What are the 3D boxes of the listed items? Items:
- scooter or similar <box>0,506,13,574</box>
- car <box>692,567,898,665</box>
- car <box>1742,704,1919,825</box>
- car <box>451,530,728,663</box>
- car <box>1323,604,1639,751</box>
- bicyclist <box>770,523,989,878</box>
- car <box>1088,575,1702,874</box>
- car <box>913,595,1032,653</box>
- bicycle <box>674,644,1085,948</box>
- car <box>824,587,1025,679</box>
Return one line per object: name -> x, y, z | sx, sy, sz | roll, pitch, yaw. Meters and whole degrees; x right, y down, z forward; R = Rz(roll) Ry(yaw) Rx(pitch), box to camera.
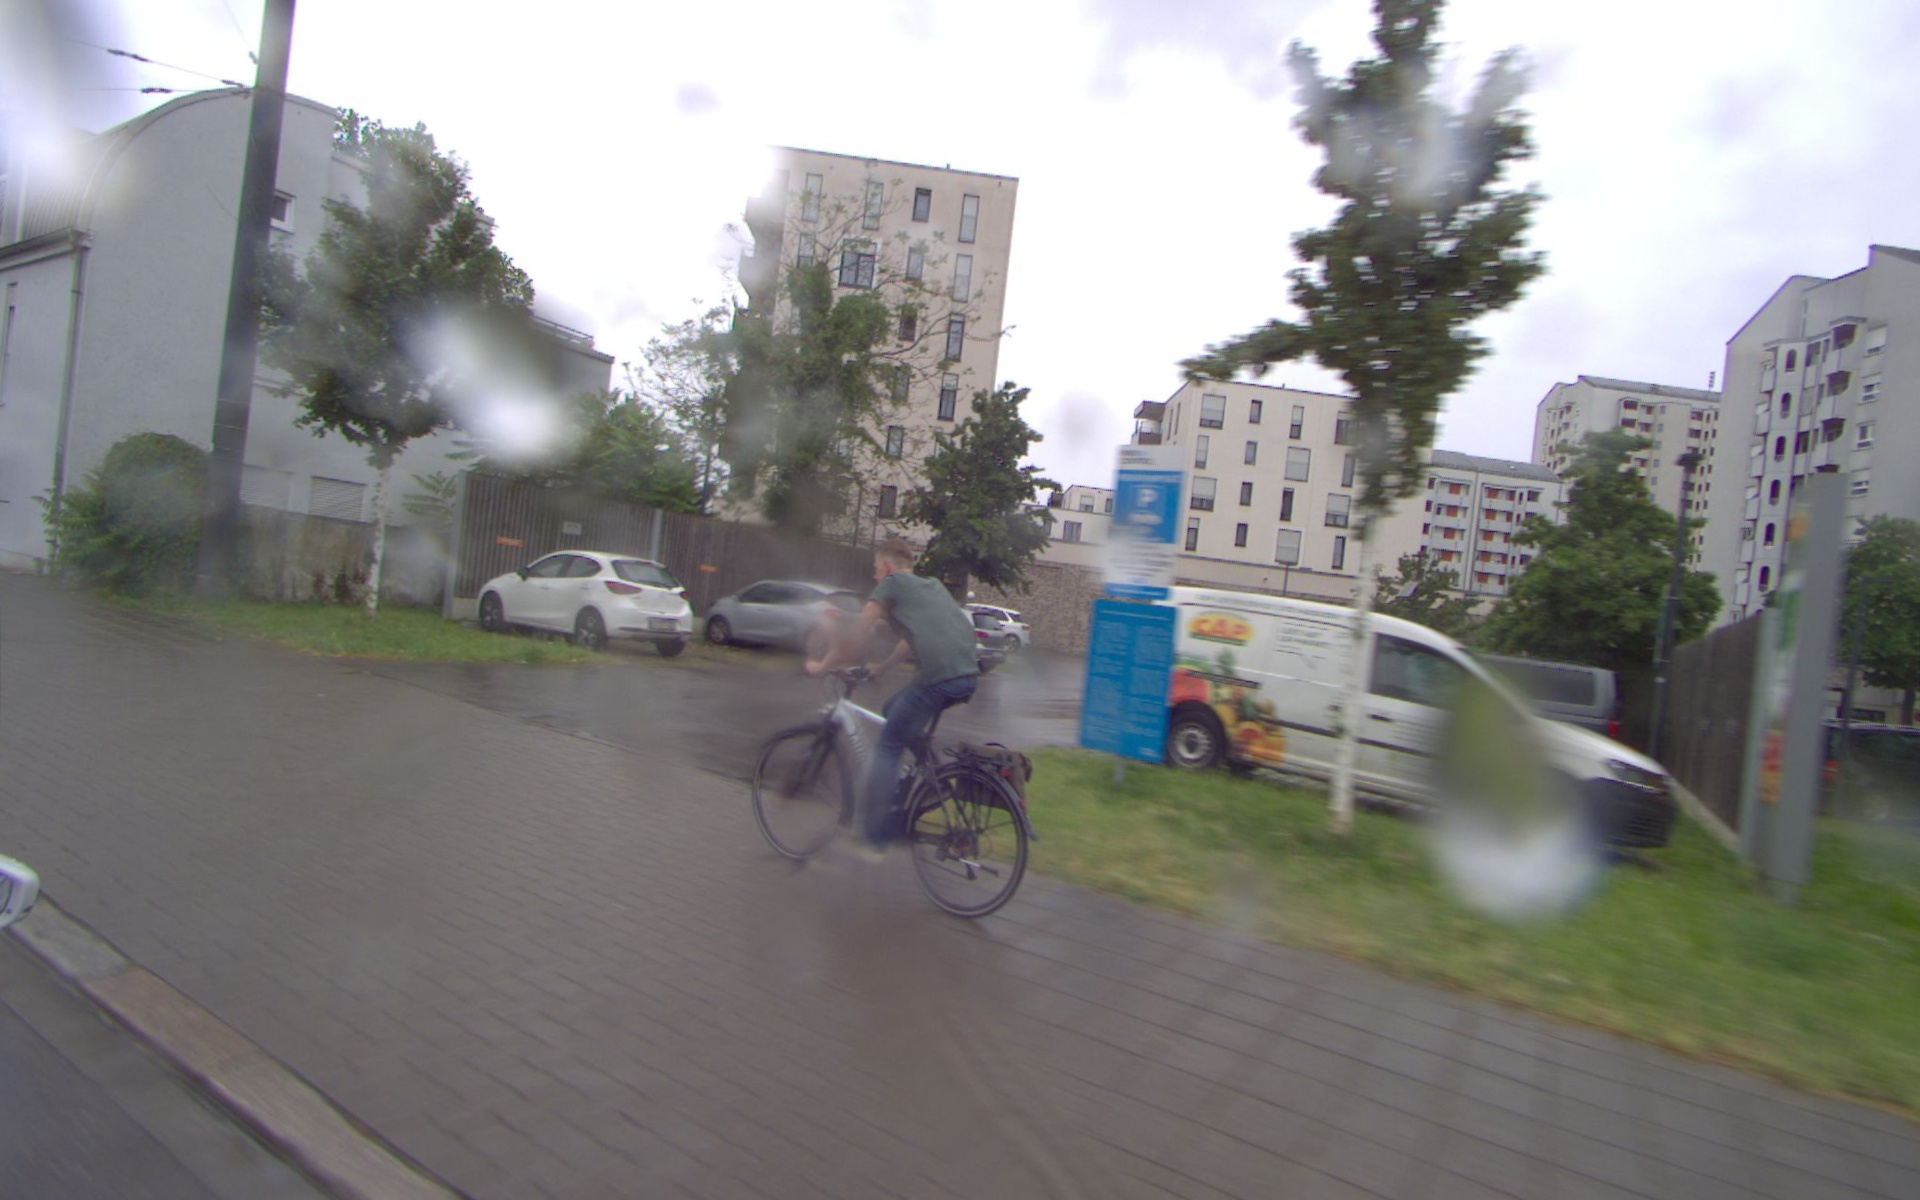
scooter or similar -> -16.425, -1.047, 16.992 | 1.375, 1.098, 0.333 | 5, -1, 38
car -> -3.387, 0.337, 20.731 | 3.599, 1.464, 1.969 | 7, -1, 26
car -> 16.488, 2.979, 17.430 | 4.285, 1.628, 1.969 | 8, -1, -3
car -> -6.072, -0.089, 16.329 | 4.293, 1.553, 1.965 | 7, -1, 34
car -> 9.366, 1.341, 18.266 | 4.702, 1.892, 1.965 | 7, -1, 34
bicyclist -> -0.390, 0.466, 4.988 | 0.758, 1.578, 0.535 | 6, -1, 24
car -> 3.913, 0.977, 9.603 | 4.818, 1.805, 1.965 | 7, -1, 34
car -> 0.469, 0.914, 38.364 | 4.283, 1.553, 1.970 | 8, -1, 0
bicycle -> -0.431, 0.884, 4.984 | 1.914, 1.106, 0.538 | 6, -1, 25
car -> -0.884, 0.771, 23.870 | 4.293, 1.553, 1.965 | 7, -1, 34
